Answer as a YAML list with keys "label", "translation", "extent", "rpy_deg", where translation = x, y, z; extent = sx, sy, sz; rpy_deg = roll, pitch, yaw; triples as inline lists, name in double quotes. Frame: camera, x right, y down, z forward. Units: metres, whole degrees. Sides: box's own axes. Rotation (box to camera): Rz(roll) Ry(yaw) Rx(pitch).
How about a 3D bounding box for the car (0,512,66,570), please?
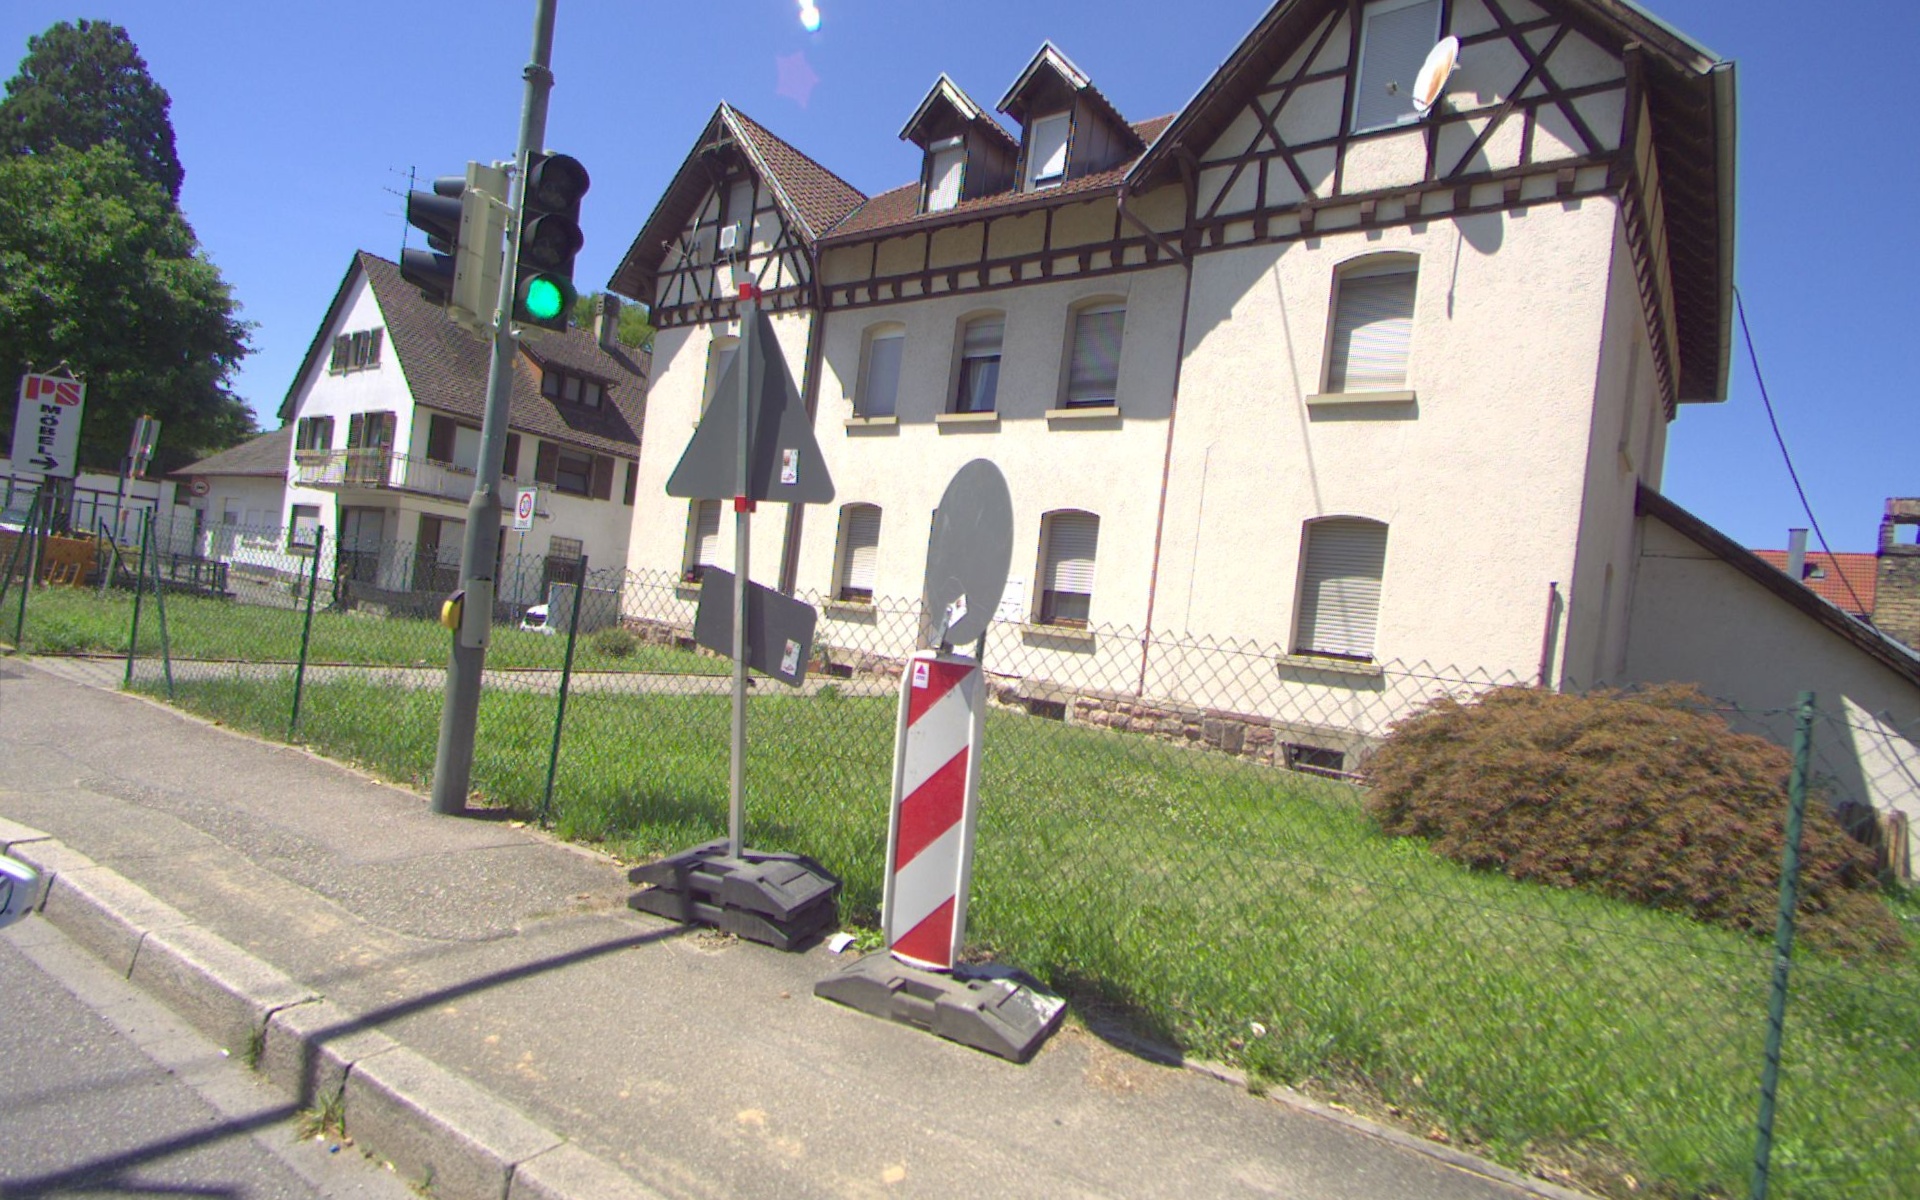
- label: "car"
  translation: [-25.623, -1.680, 27.135]
  extent: [3.336, 1.284, 1.711]
  rpy_deg: [7, -2, 41]

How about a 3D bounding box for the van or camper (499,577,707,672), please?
- label: "van or camper"
  translation: [-10.289, 0.782, 29.425]
  extent: [1.971, 1.999, 5.350]
  rpy_deg: [5, -5, 38]

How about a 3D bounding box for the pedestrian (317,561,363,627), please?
- label: "pedestrian"
  translation: [-16.151, -0.160, 26.200]
  extent: [0.563, 1.620, 0.696]
  rpy_deg: [7, 0, 30]
